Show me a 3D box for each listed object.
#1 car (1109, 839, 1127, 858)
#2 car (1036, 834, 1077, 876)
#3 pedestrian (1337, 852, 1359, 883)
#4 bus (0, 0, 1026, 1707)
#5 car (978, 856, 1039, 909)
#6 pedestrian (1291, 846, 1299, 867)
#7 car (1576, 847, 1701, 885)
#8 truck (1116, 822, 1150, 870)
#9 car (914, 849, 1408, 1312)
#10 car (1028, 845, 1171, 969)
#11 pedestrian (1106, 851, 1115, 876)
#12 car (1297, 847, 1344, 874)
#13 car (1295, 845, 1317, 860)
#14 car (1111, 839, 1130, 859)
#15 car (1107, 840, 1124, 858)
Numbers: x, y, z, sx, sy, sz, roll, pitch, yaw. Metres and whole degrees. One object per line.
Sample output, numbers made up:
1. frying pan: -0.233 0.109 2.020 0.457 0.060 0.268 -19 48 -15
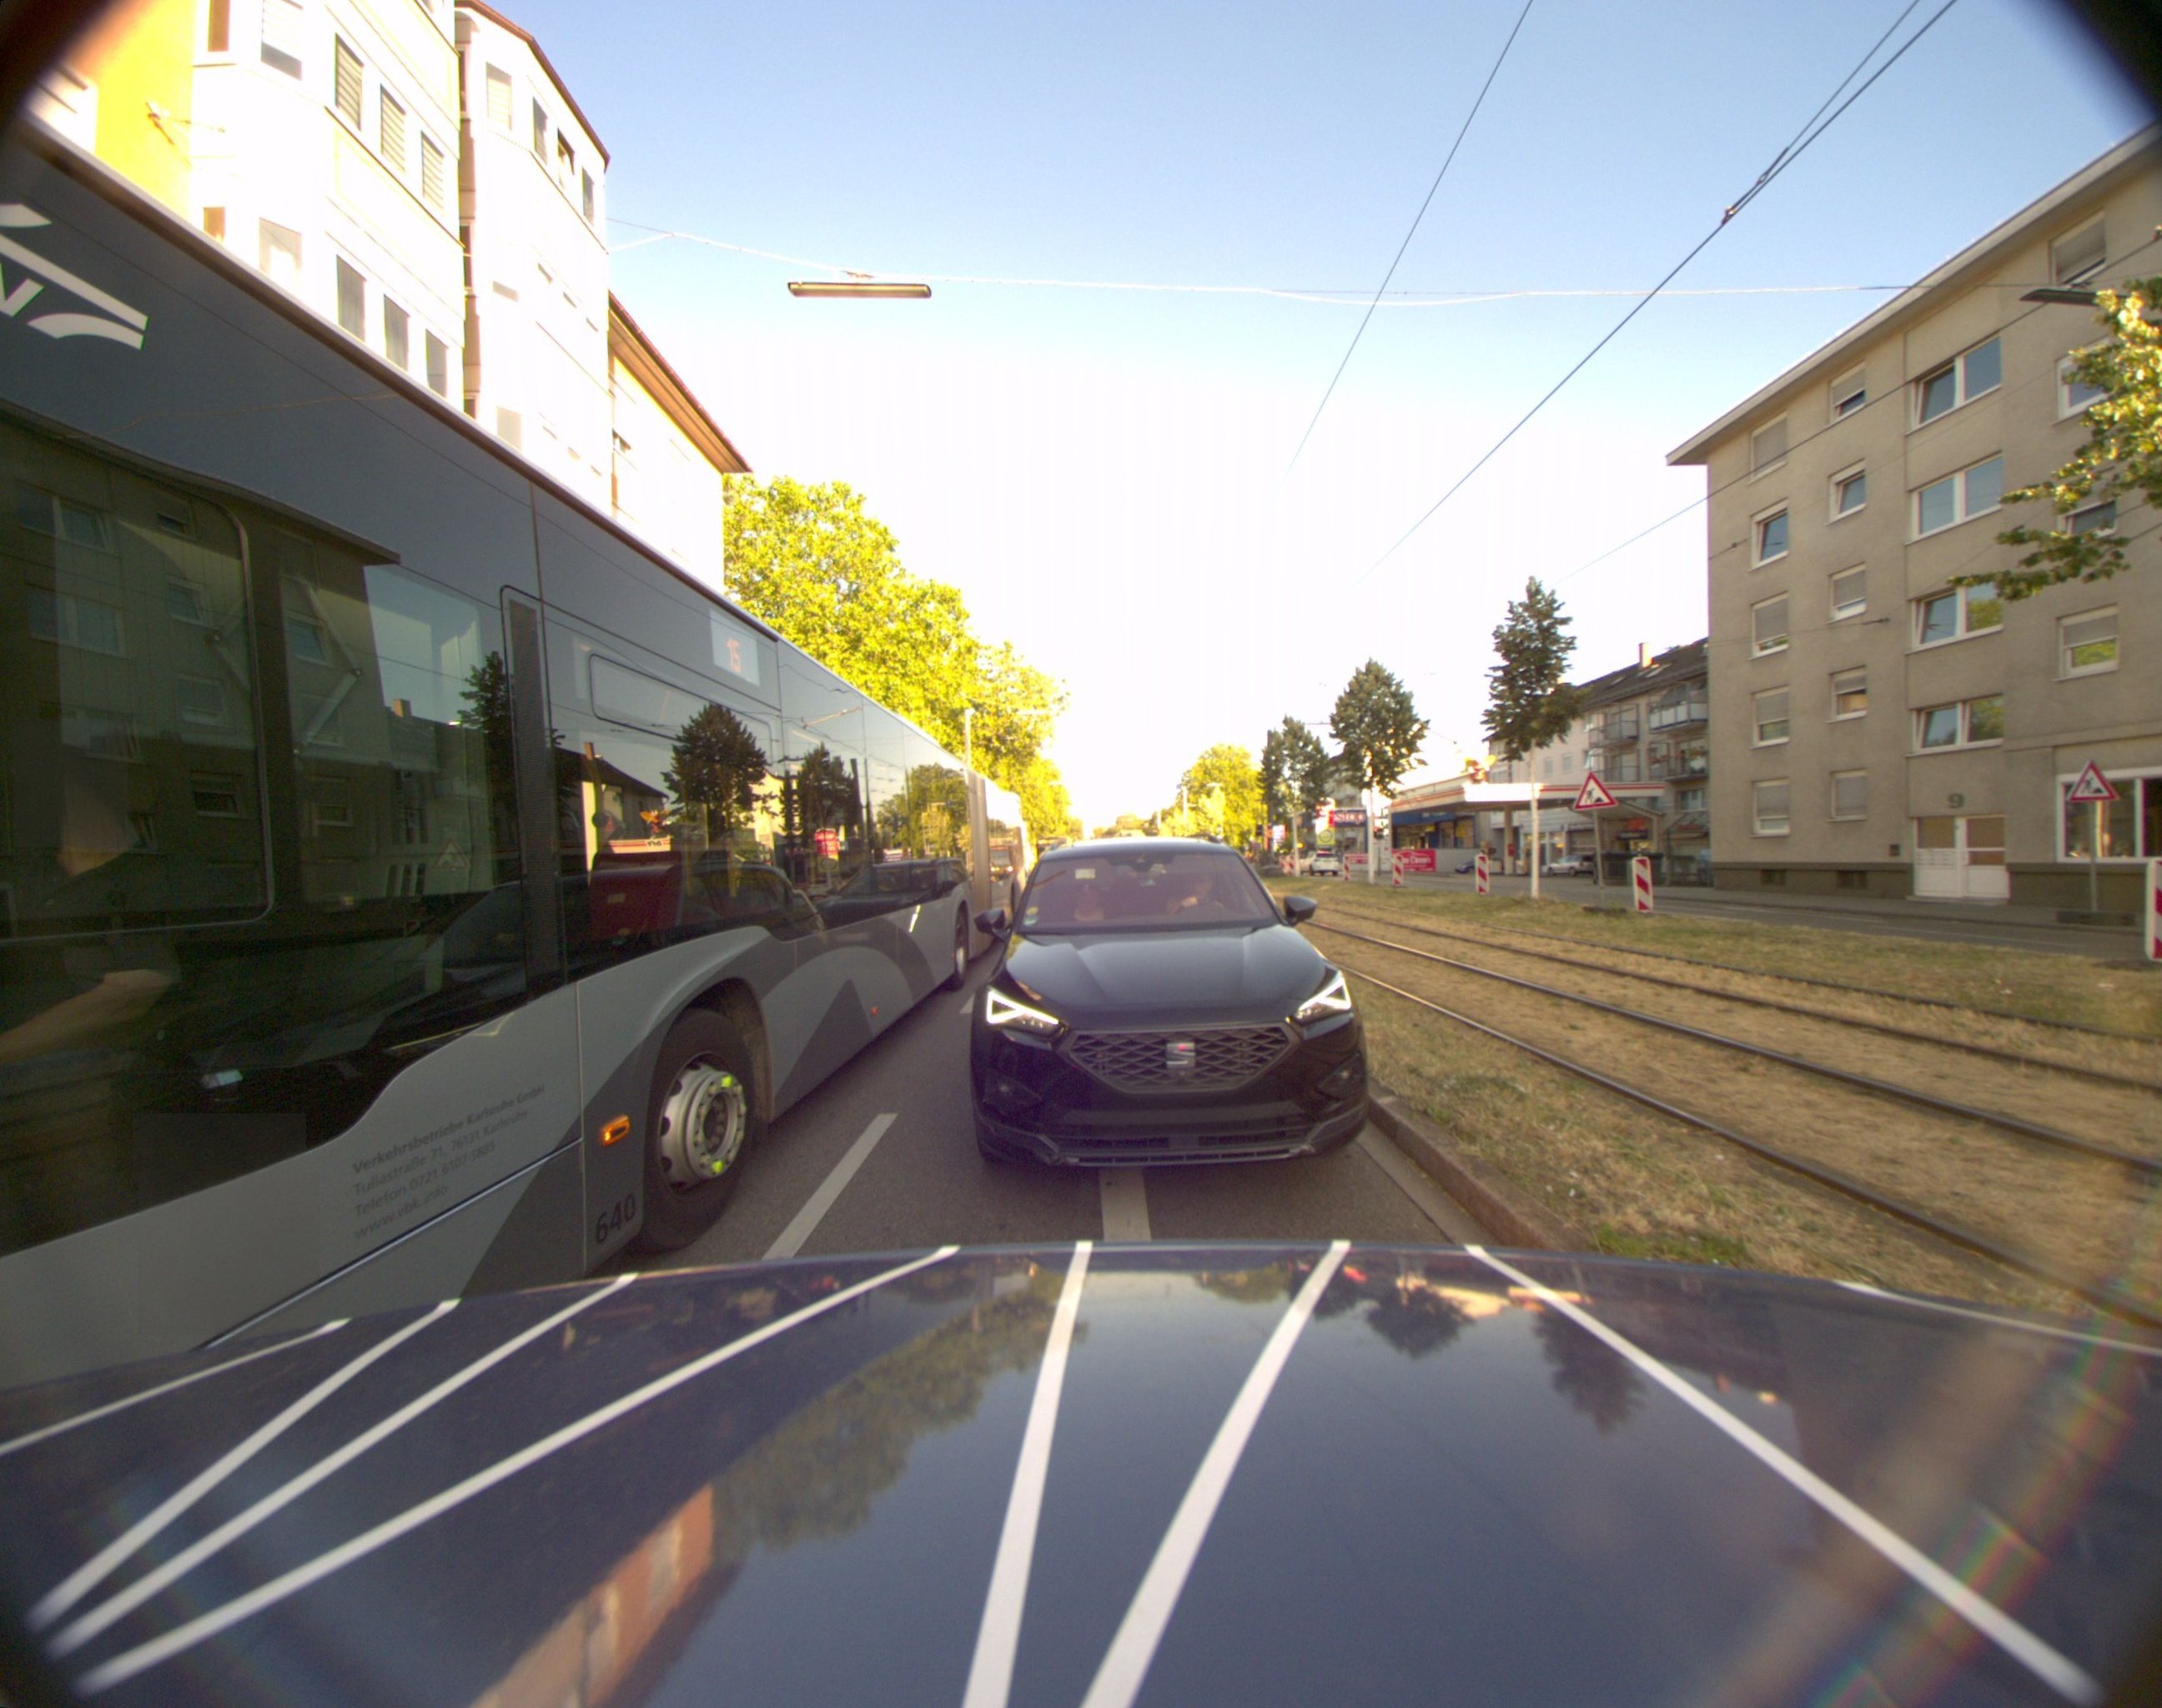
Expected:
1. car: 4.084 -0.574 83.563 1.767 2.002 3.791 -2 1 1
2. car: -1.717 0.032 55.717 2.681 2.875 5.452 -2 1 0
3. pedestrian: 10.953 0.553 31.220 0.664 1.263 0.581 -2 0 1
4. bus: -2.807 0.184 9.008 2.773 3.131 17.740 -2 0 1
5. car: -2.459 0.925 26.518 1.750 1.598 3.823 -2 1 -1
6. pedestrian: 20.494 0.241 72.857 0.632 2.002 0.583 0 1 2
7. car: 22.776 0.507 31.149 3.727 1.460 1.908 0 -1 0
8. truck: 4.316 -0.687 64.529 2.306 3.798 7.723 -2 1 1
9. car: 0.322 0.831 4.791 1.774 1.667 4.000 -1 0 1
10. car: 0.279 0.740 12.689 1.998 1.739 4.000 -1 0 1
11. pedestrian: 2.407 0.800 61.602 0.625 2.002 0.695 -2 0 0
12. car: 16.284 0.379 51.838 1.998 1.725 4.393 -1 1 2
13. car: 25.100 -0.202 84.823 1.781 1.547 4.002 -2 1 9
14. car: 4.065 -0.517 78.530 1.767 2.002 3.791 -2 1 1
15. car: 3.993 -0.618 87.884 1.767 2.002 3.791 -2 1 1
